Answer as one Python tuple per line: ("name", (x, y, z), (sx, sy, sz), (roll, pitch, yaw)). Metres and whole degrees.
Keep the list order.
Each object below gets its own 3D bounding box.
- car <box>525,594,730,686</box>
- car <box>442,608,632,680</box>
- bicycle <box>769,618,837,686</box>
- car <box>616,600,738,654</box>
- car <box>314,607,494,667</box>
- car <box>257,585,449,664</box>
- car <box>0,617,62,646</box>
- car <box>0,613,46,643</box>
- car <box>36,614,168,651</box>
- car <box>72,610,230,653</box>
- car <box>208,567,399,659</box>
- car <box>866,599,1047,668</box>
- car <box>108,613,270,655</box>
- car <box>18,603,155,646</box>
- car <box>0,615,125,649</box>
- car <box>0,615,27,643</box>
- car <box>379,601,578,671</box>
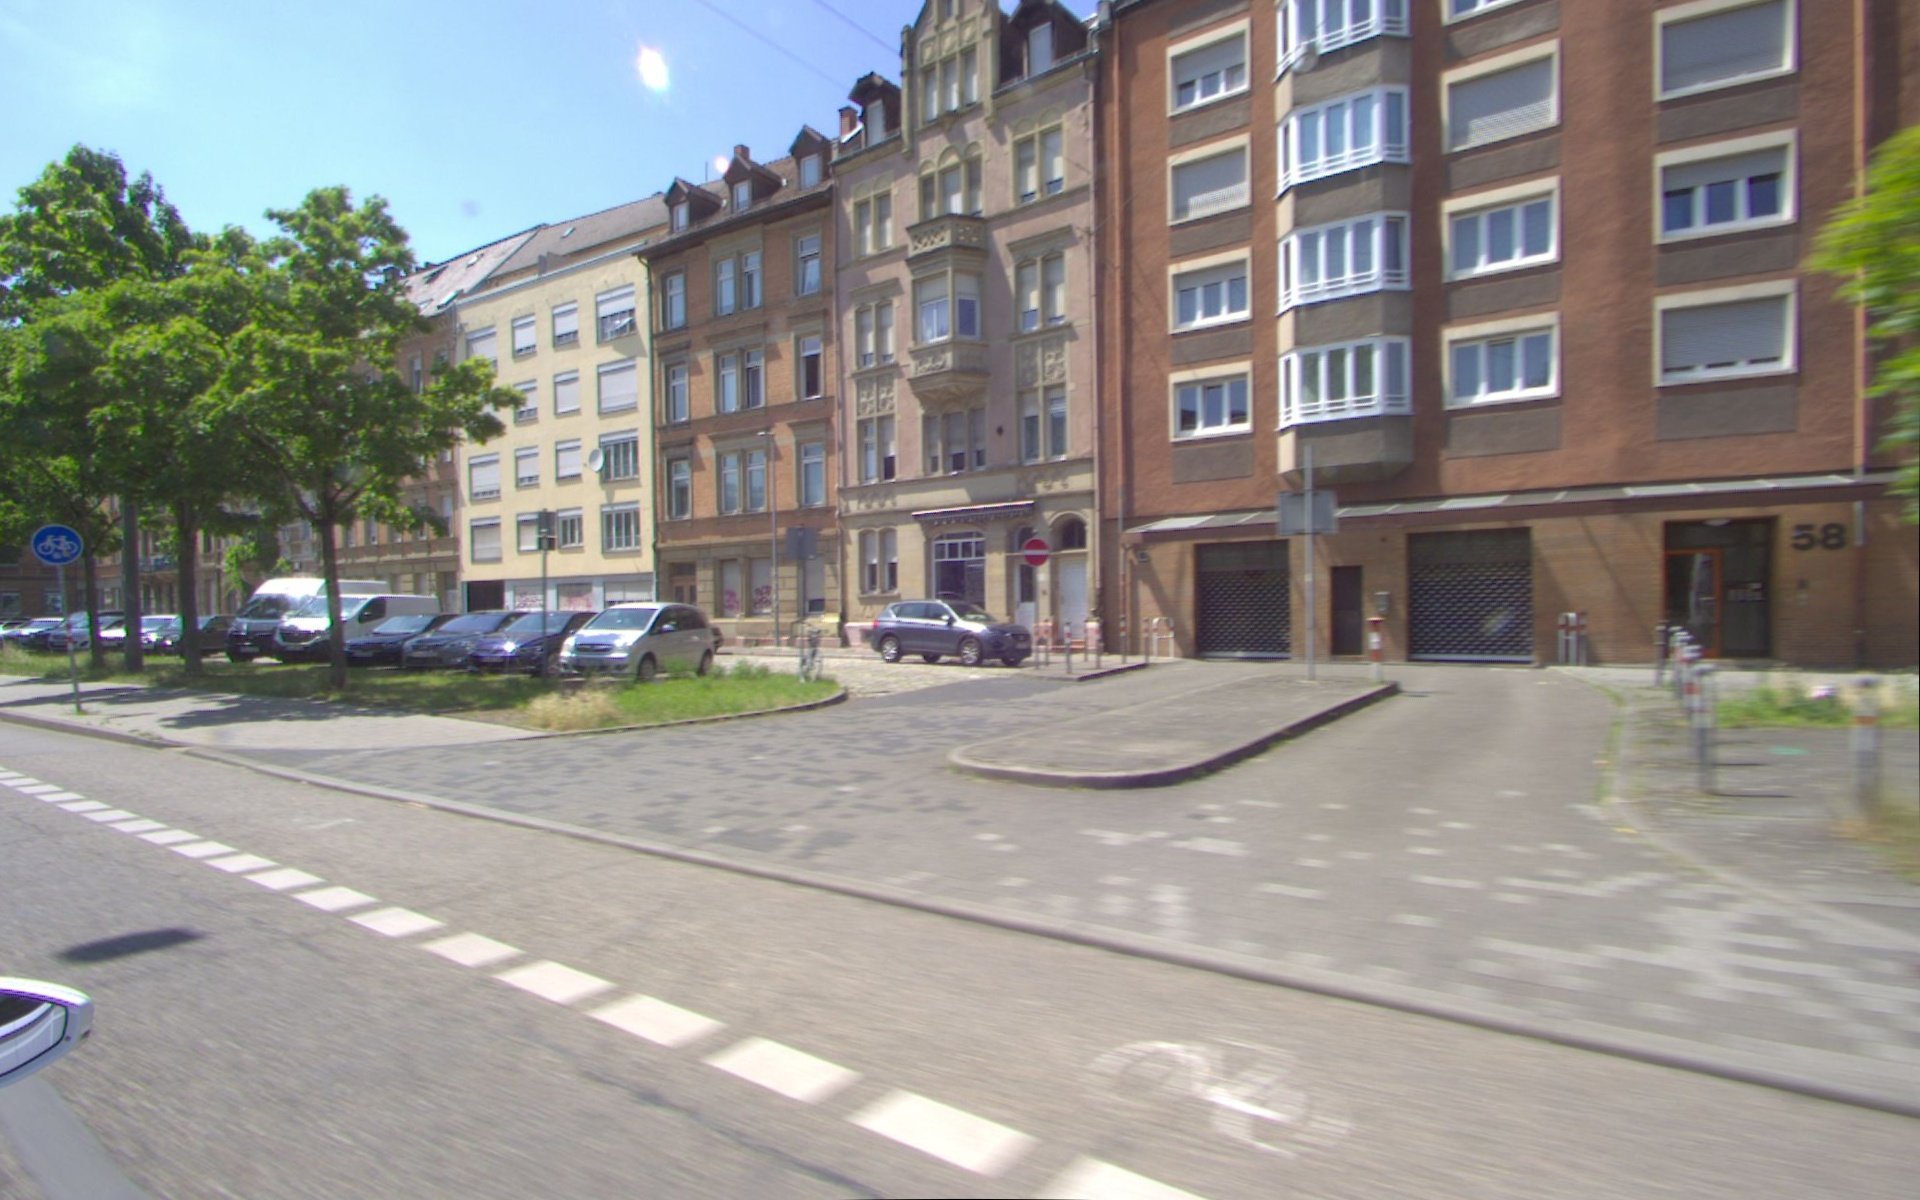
("car", (-6.559, 0.777, 20.344), (1.963, 1.653, 4.410), (0, -1, 13))
("car", (-9.051, 0.915, 21.833), (1.790, 1.417, 3.997), (0, -1, 14))
("bicycle", (-3.030, 0.963, 19.144), (0.729, 1.208, 2.353), (0, -1, -23))
("car", (-9.425, 0.896, 33.268), (3.945, 1.705, 1.815), (-1, -1, 34))
("car", (-14.110, 0.923, 25.694), (1.790, 1.404, 3.997), (0, -1, 14))
("car", (-16.707, 0.683, 27.925), (2.036, 1.998, 4.849), (0, -1, 6))
("car", (-44.731, 1.475, 46.618), (1.935, 1.330, 3.998), (0, -1, 13))
("car", (-47.095, 1.355, 48.408), (1.763, 1.488, 4.092), (0, -1, 8))
("car", (-33.965, 1.271, 39.802), (1.679, 1.418, 4.001), (0, -1, 3))
("car", (-28.864, 1.110, 35.958), (1.934, 1.446, 4.694), (0, -1, -1))
("car", (-19.394, 0.427, 29.999), (2.194, 2.492, 5.553), (0, -1, -1))
("car", (-0.168, 0.840, 25.770), (4.548, 1.621, 1.983), (-1, -1, 42))
("car", (-26.032, 1.132, 34.040), (1.934, 1.356, 4.433), (0, -1, 3))
("car", (-36.344, 1.024, 41.795), (1.934, 1.683, 3.999), (0, -1, 9))
("car", (-38.557, 1.324, 42.286), (2.109, 1.330, 4.785), (0, -1, 13))
("car", (-49.309, 1.430, 49.700), (1.552, 1.394, 4.348), (0, -1, 9))
("car", (-11.331, 0.828, 24.001), (1.928, 1.516, 4.632), (0, -1, 11))
